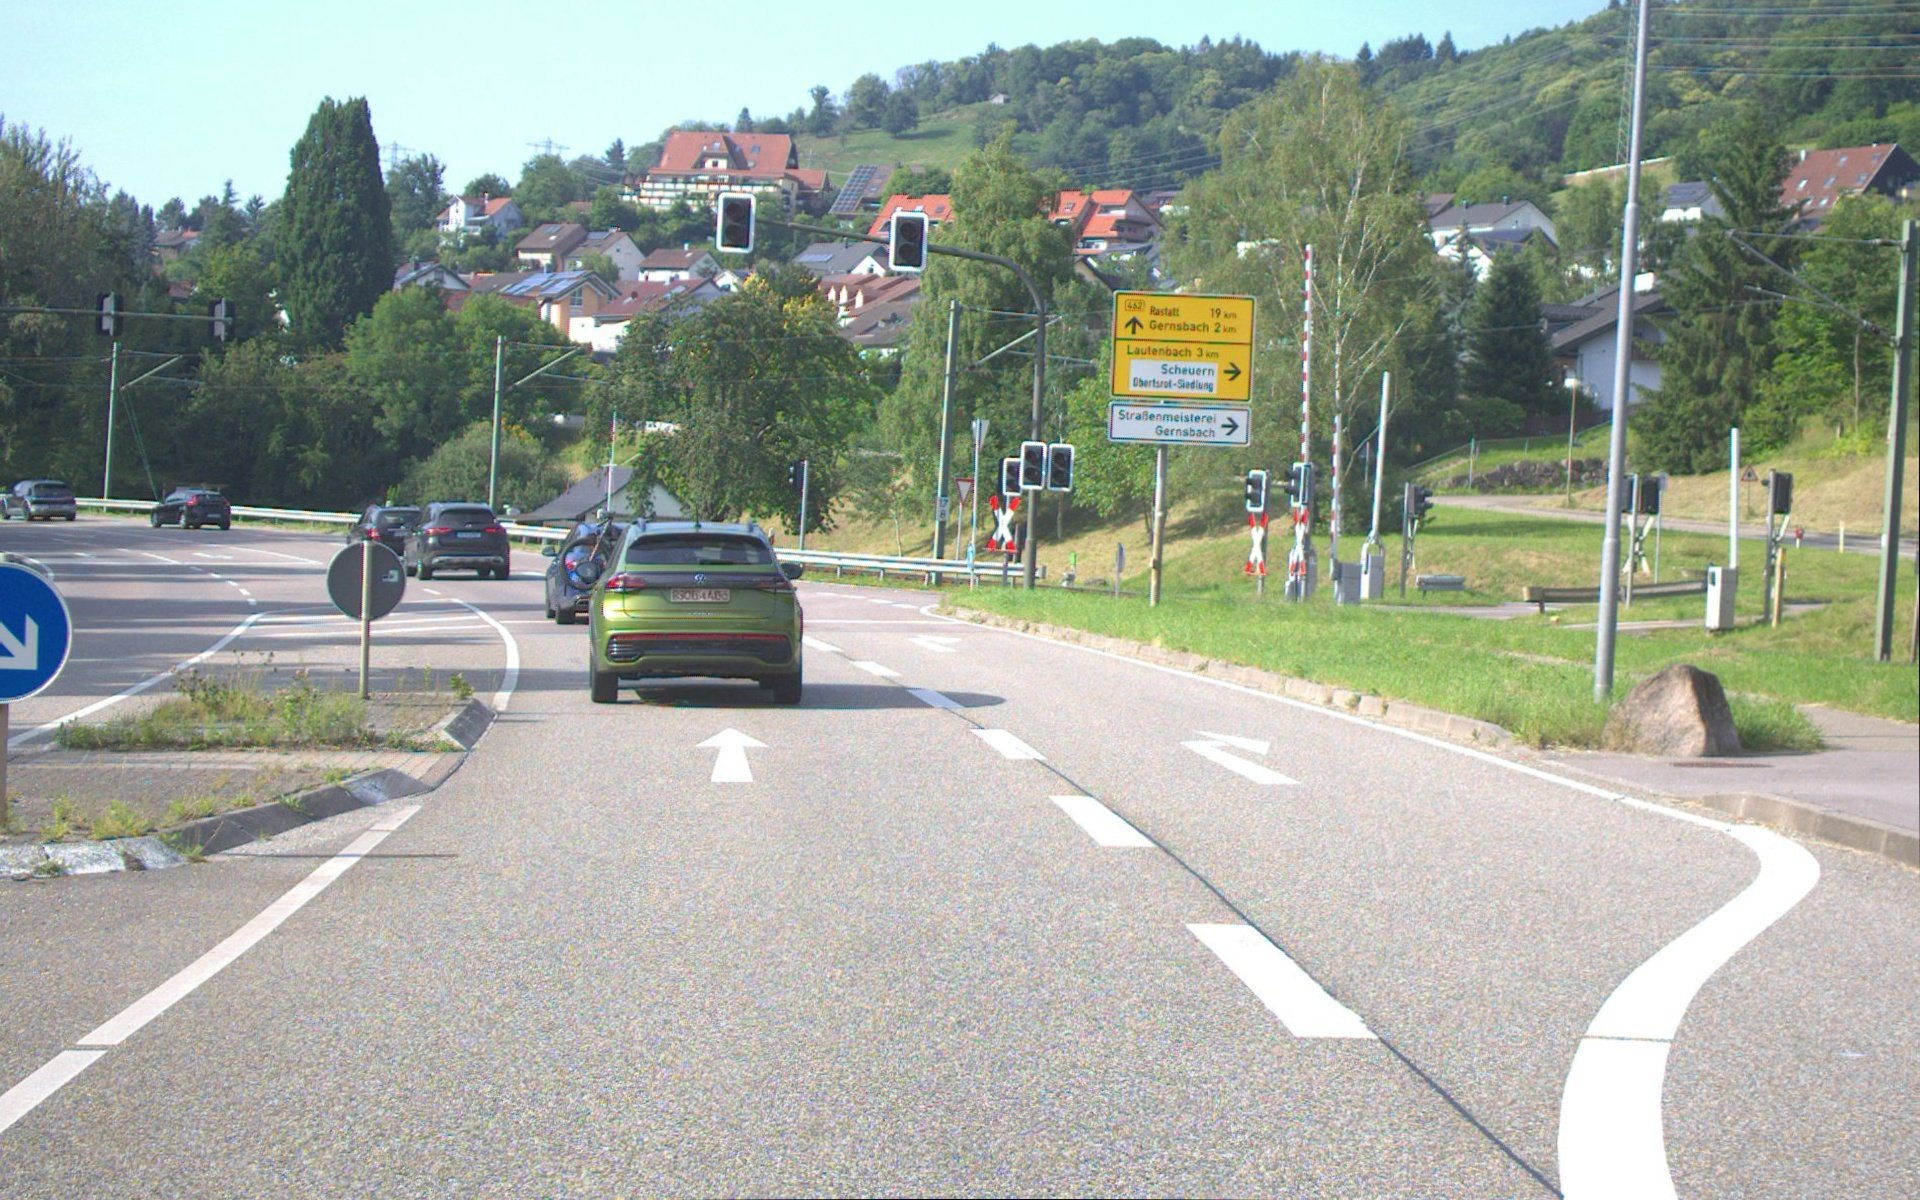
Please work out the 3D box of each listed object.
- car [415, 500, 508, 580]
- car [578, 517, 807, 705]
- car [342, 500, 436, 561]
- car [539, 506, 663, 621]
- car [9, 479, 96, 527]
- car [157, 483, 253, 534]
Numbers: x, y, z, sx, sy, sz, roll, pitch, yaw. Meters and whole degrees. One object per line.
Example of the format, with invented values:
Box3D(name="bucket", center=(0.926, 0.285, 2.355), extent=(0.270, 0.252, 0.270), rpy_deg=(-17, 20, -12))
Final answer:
Box3D(name="car", center=(-10.797, -1.312, 74.300), extent=(1.879, 1.681, 4.001), rpy_deg=(0, 1, -10))
Box3D(name="car", center=(-2.341, 0.044, 29.267), extent=(1.714, 1.450, 4.001), rpy_deg=(1, 1, -7))
Box3D(name="car", center=(-14.586, -1.790, 87.707), extent=(1.848, 1.521, 3.664), rpy_deg=(0, 2, -17))
Box3D(name="car", center=(-5.154, -0.543, 49.052), extent=(1.667, 1.554, 4.001), rpy_deg=(1, 1, -7))
Box3D(name="car", center=(-35.598, -3.794, 134.788), extent=(2.063, 1.805, 4.000), rpy_deg=(0, 2, -34))
Box3D(name="car", center=(-27.554, -3.333, 125.442), extent=(1.994, 1.739, 4.000), rpy_deg=(1, 2, -35))
